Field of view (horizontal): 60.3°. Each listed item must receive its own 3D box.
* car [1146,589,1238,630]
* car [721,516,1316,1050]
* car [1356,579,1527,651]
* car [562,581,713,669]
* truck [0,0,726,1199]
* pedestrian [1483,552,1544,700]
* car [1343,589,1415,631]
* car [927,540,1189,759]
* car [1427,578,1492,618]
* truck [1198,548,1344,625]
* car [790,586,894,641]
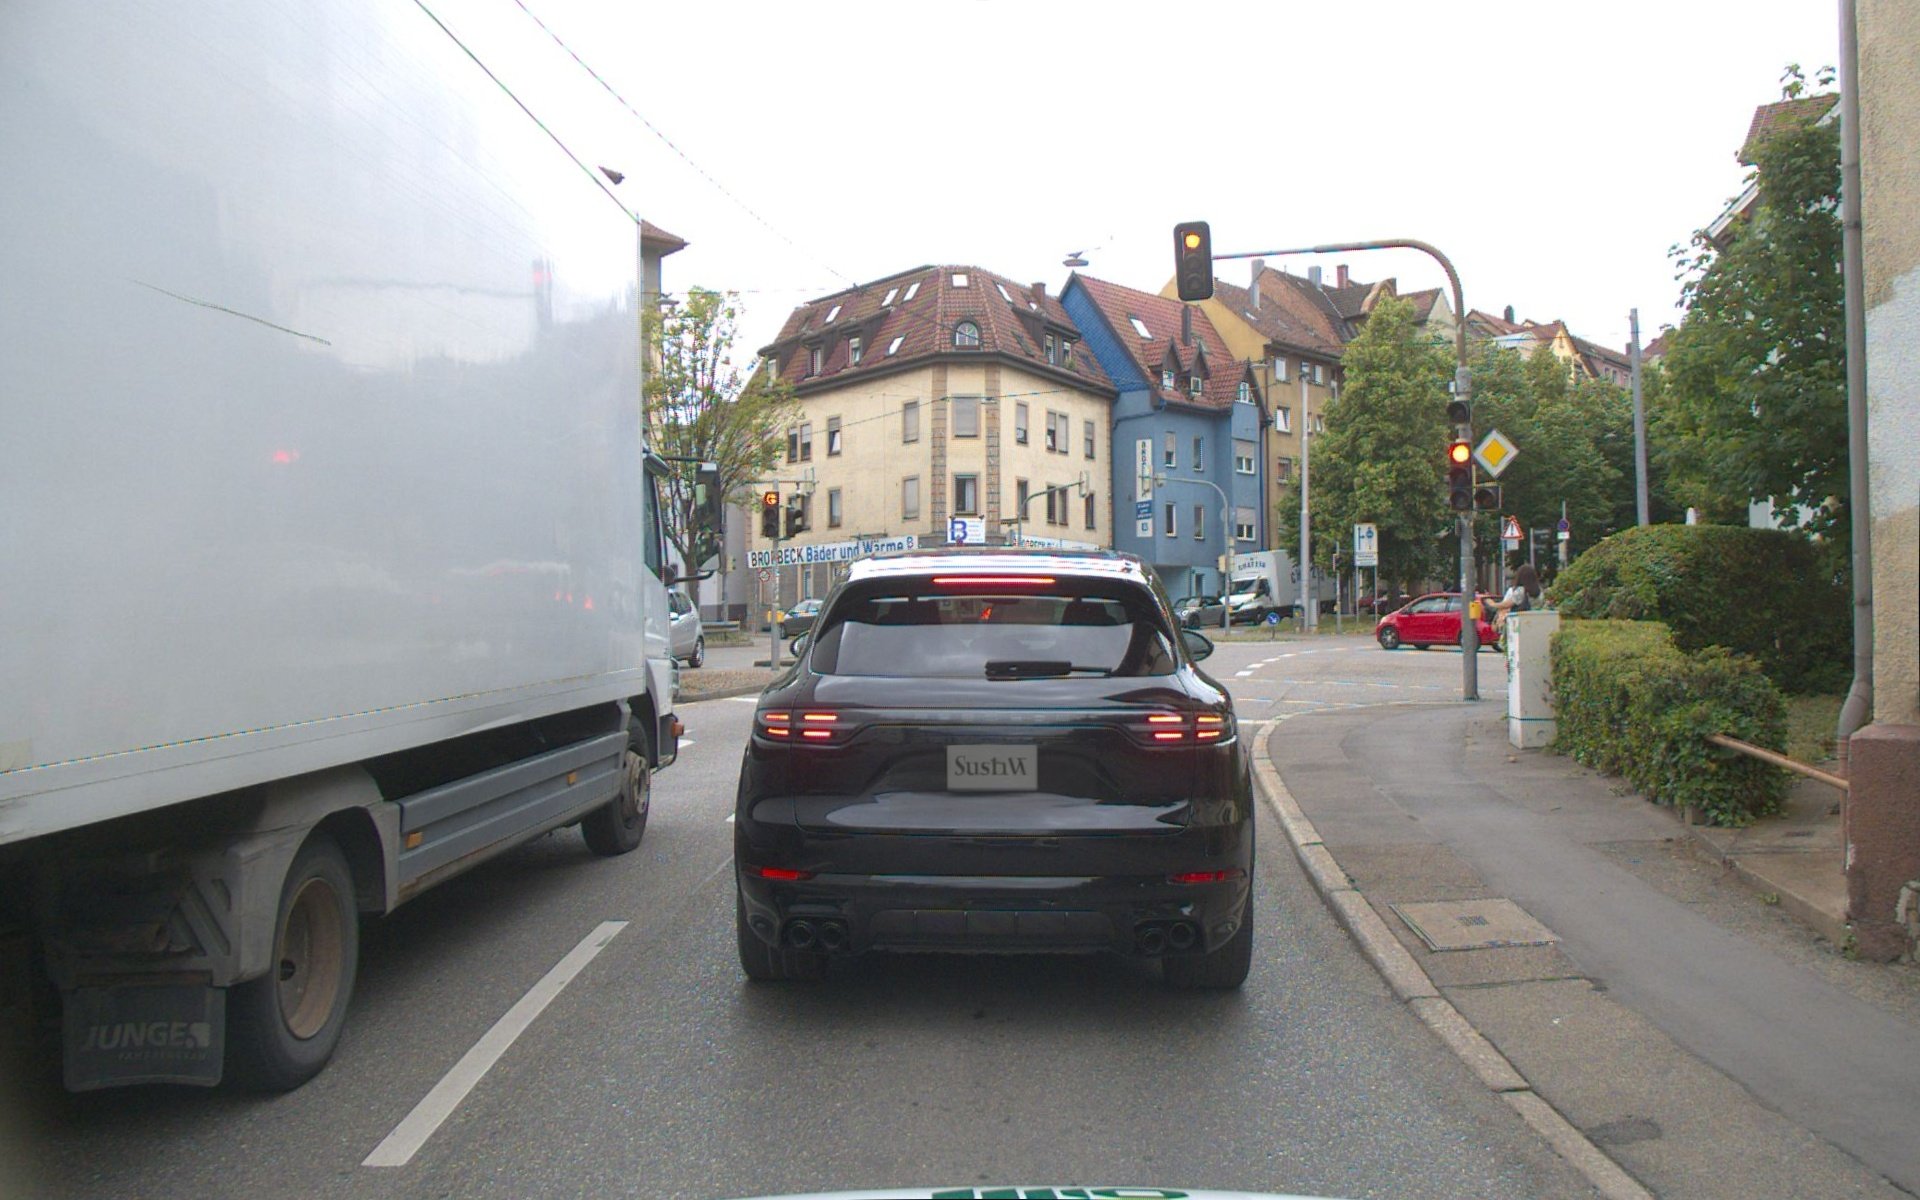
[{"bbox_3d":[10.109,0.402,72.039,3.968,1.713,1.968,0,0,-43],"label":"car"},{"bbox_3d":[0.080,0.562,7.367,1.939,1.713,3.997,0,1,-4],"label":"car"},{"bbox_3d":[12.276,0.352,42.353,1.698,1.691,3.946,2,0,-38],"label":"car"},{"bbox_3d":[-6.236,0.500,32.443,1.849,1.607,3.972,0,-1,6],"label":"car"},{"bbox_3d":[-2.978,-0.428,6.509,2.711,3.637,8.066,0,1,2],"label":"truck"},{"bbox_3d":[7.105,0.334,21.253,0.517,1.851,0.591,2,-1,-1],"label":"pedestrian"},{"bbox_3d":[21.932,0.546,86.482,1.965,2.049,3.975,2,0,42],"label":"car"},{"bbox_3d":[1.037,0.387,15.055,1.951,1.713,4.003,0,0,10],"label":"car"},{"bbox_3d":[28.246,-0.101,93.413,1.965,2.049,3.975,2,0,42],"label":"car"},{"bbox_3d":[14.907,-0.601,78.768,2.830,3.398,8.744,2,0,41],"label":"truck"},{"bbox_3d":[-4.611,0.505,64.396,1.985,2.049,3.935,2,-1,-44],"label":"car"}]
